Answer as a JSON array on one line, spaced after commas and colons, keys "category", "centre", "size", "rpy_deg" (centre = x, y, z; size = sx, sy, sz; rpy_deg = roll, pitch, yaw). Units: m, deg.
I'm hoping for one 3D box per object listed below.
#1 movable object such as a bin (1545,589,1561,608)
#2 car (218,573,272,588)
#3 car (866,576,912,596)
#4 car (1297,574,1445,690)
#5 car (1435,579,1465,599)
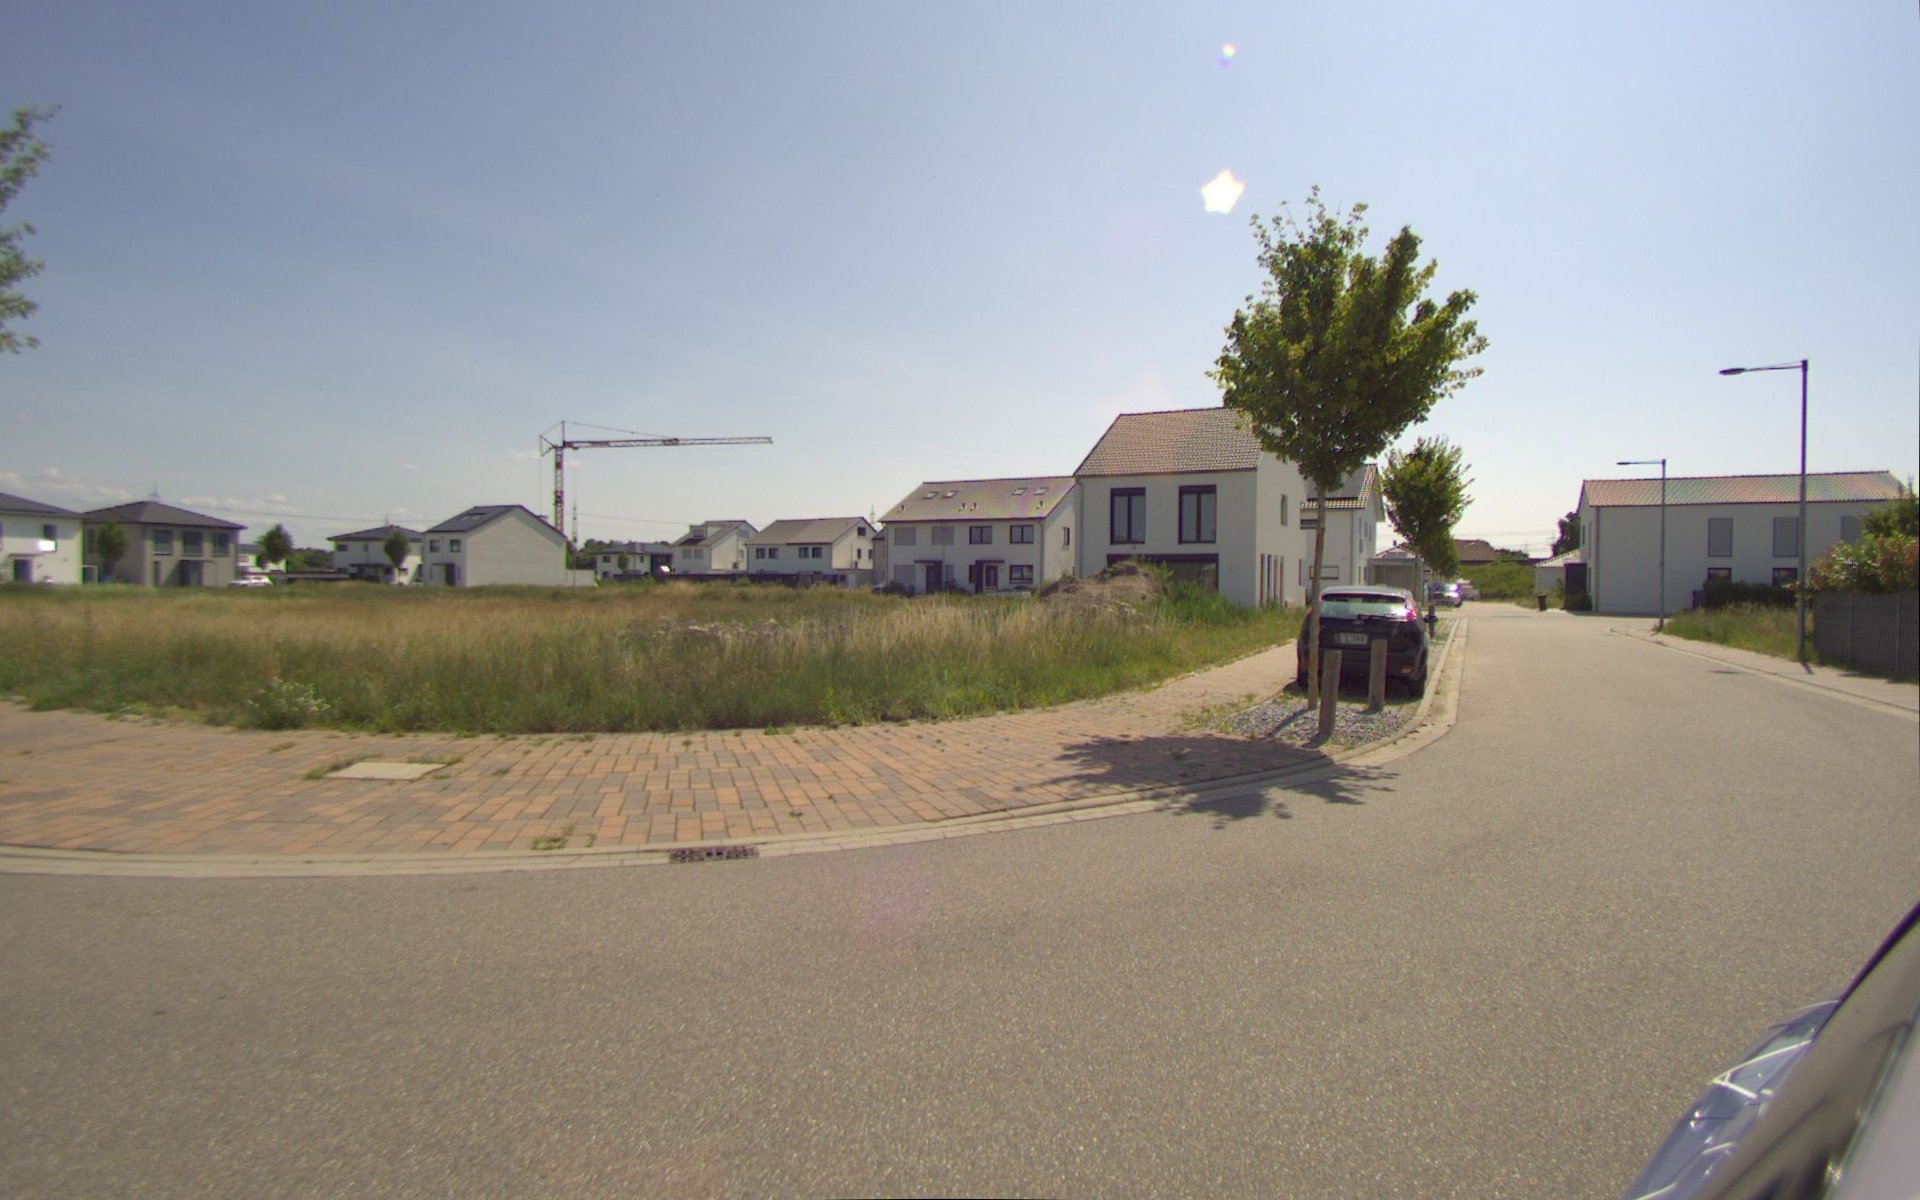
[{"category": "movable object such as a bin", "centre": [35.509, -0.069, 60.568], "size": [0.801, 1.112, 0.665], "rpy_deg": [1, 1, 30]}, {"category": "car", "centre": [-66.306, -1.800, 93.900], "size": [1.725, 1.415, 3.981], "rpy_deg": [0, 1, 15]}, {"category": "car", "centre": [-5.812, -1.198, 83.558], "size": [1.802, 1.593, 3.954], "rpy_deg": [1, 1, 32]}, {"category": "car", "centre": [6.273, 0.410, 15.535], "size": [1.828, 1.512, 4.163], "rpy_deg": [0, 0, 22]}, {"category": "car", "centre": [37.889, -0.864, 78.153], "size": [1.908, 1.438, 4.378], "rpy_deg": [1, 1, 28]}]
